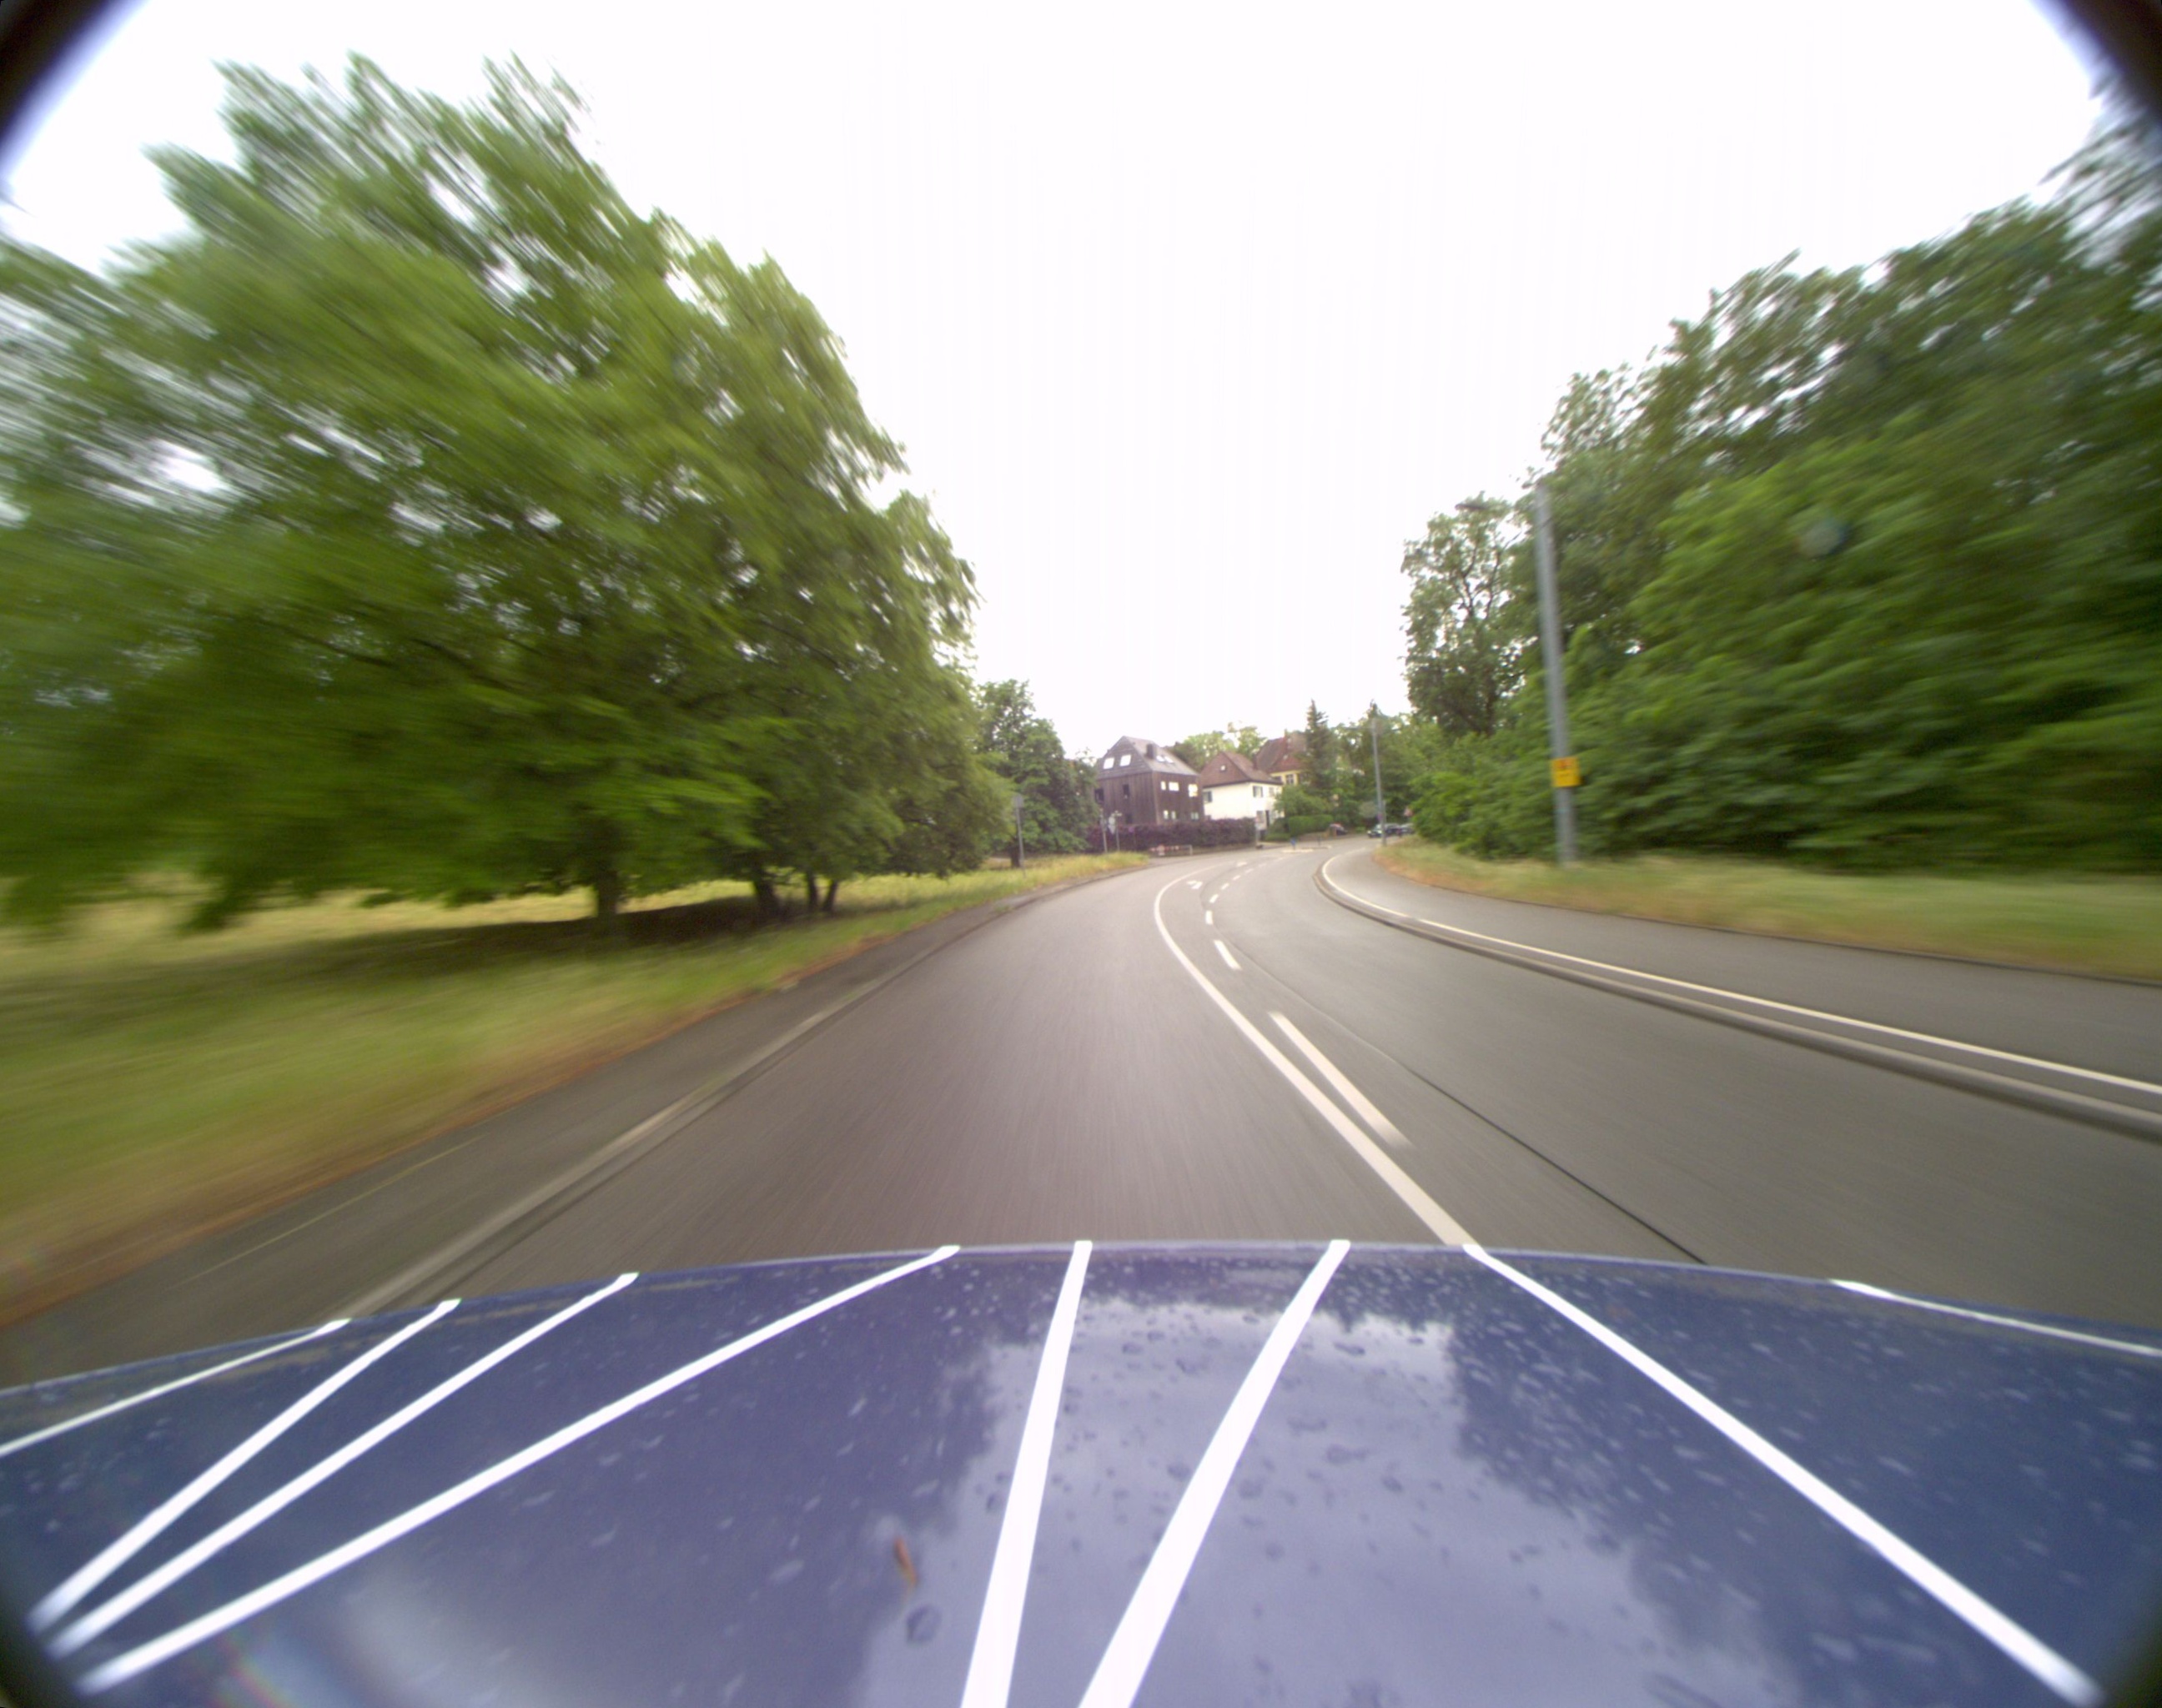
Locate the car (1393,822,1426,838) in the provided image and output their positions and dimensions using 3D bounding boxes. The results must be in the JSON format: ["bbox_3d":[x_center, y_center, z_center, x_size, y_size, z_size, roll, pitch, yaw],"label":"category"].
[{"bbox_3d":[34.072,-2.524,78.709,1.847,1.493,4.639,1,4,40],"label":"car"}]

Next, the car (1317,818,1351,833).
[{"bbox_3d":[30.663,-3.491,92.221,3.480,1.404,1.430,-6,0,44],"label":"car"}]

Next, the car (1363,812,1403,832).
[{"bbox_3d":[32.836,-3.483,82.609,4.004,1.707,1.995,-7,3,-32],"label":"car"}]
